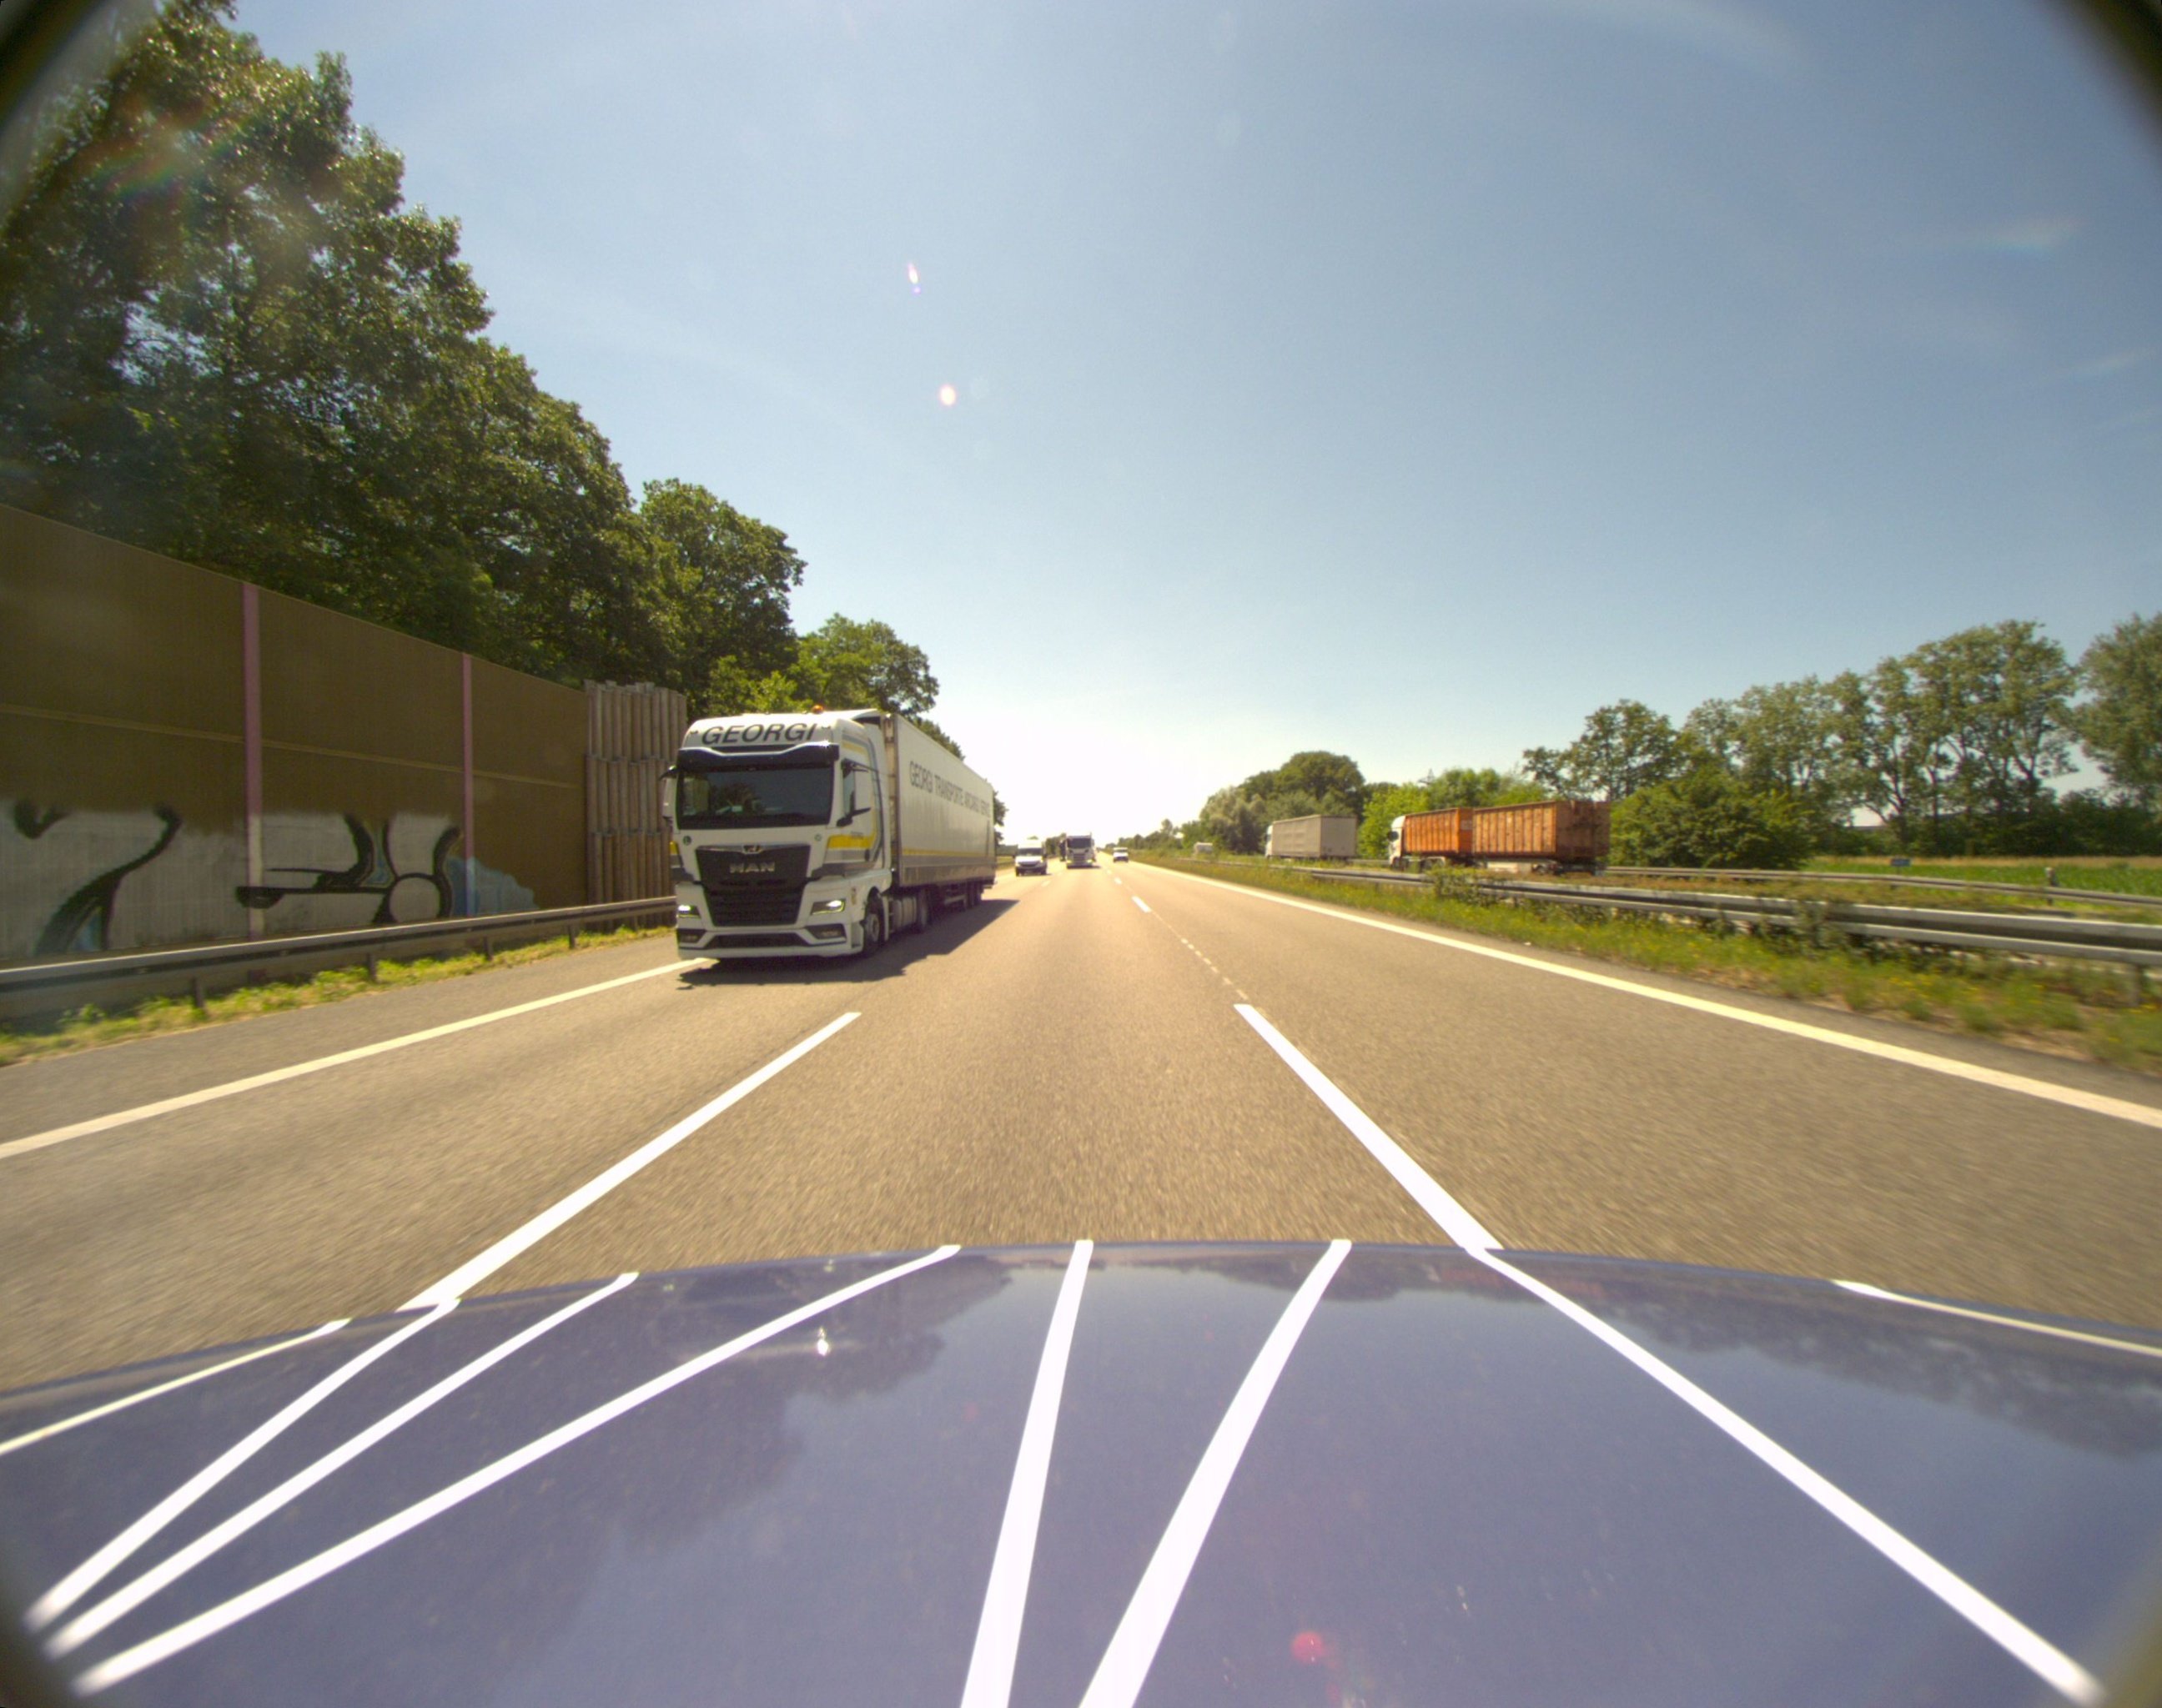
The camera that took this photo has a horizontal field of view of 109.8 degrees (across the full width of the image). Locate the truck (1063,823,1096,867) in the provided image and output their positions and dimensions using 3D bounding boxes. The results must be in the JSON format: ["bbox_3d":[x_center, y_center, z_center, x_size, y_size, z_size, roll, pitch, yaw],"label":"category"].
[{"bbox_3d":[-0.073,-0.854,73.599,2.896,4.007,6.869,-2,1,1],"label":"truck"}]

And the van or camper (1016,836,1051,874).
[{"bbox_3d":[-3.492,0.047,56.799,2.027,2.622,6.486,-2,1,0],"label":"van or camper"}]

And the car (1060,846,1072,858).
[{"bbox_3d":[-2.586,-0.409,132.138,1.998,2.002,4.867,0,1,1],"label":"car"}]

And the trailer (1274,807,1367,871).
[{"bbox_3d":[18.220,-1.099,59.122,3.203,4.397,13.324,0,1,1],"label":"trailer"}]

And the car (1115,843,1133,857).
[{"bbox_3d":[5.882,-0.589,104.103,2.147,1.810,5.267,-2,1,1],"label":"car"}]

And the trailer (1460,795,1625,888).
[{"bbox_3d":[21.772,-0.558,36.618,2.665,3.897,8.660,2,1,1],"label":"trailer"}]

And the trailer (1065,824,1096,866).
[{"bbox_3d":[-0.045,-0.906,78.221,2.927,4.018,7.316,-2,1,1],"label":"trailer"}]

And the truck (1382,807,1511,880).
[{"bbox_3d":[21.895,-0.628,46.444,2.655,3.862,10.826,2,1,1],"label":"truck"}]

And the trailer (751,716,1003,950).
[{"bbox_3d":[-4.479,-0.444,20.863,3.001,4.264,13.416,-2,1,1],"label":"trailer"}]

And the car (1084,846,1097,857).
[{"bbox_3d":[1.436,-0.397,114.205,1.796,1.696,4.000,2,1,1],"label":"car"}]

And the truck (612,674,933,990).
[{"bbox_3d":[-4.588,-0.311,12.677,3.010,4.101,5.252,-2,1,1],"label":"truck"}]

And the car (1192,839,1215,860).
[{"bbox_3d":[18.313,-0.685,114.010,2.553,2.965,8.085,0,1,3],"label":"car"}]

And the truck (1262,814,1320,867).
[{"bbox_3d":[18.290,-1.196,66.619,3.168,4.401,6.980,0,1,1],"label":"truck"}]
